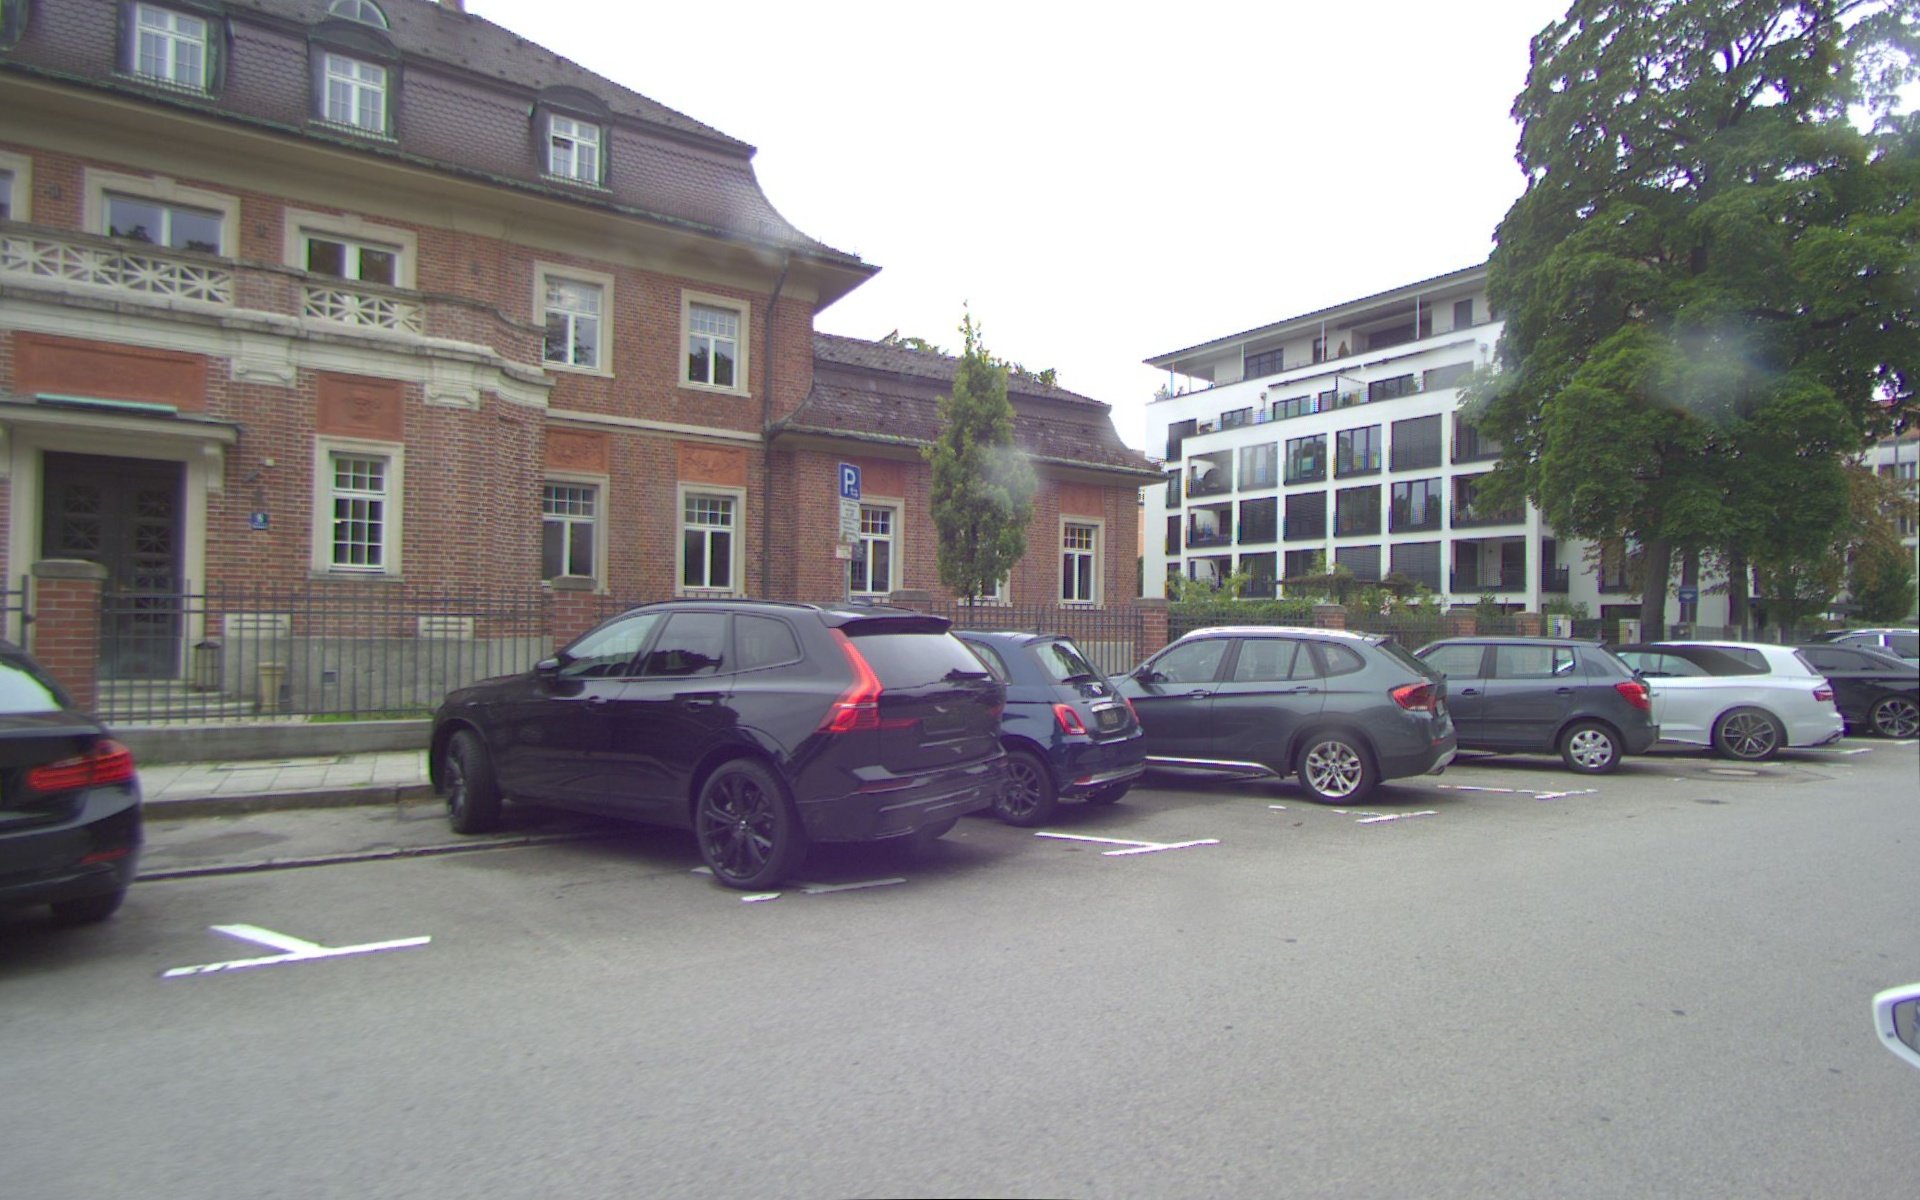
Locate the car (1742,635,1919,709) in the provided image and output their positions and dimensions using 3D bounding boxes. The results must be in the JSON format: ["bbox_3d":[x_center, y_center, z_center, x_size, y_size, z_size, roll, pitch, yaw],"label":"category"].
[{"bbox_3d":[20.234,1.575,22.128,4.326,1.510,2.017,0,-2,21],"label":"car"}]

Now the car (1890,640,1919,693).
[{"bbox_3d":[29.479,1.883,28.486,4.136,1.480,1.737,-1,-3,23],"label":"car"}]

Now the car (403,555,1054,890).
[{"bbox_3d":[-1.761,0.712,7.140,4.450,1.686,1.983,-2,-3,33],"label":"car"}]

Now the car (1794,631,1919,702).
[{"bbox_3d":[22.991,1.588,24.077,4.336,1.642,2.082,0,-2,32],"label":"car"}]

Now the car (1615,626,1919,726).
[{"bbox_3d":[14.912,1.340,18.596,4.326,1.651,1.966,0,-2,21],"label":"car"}]

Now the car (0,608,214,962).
[{"bbox_3d":[-5.881,0.810,5.113,4.450,1.436,1.923,-2,-3,33],"label":"car"}]

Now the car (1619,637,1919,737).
[{"bbox_3d":[13.655,1.378,16.584,4.327,1.458,1.965,0,-2,22],"label":"car"}]

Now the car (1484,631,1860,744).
[{"bbox_3d":[10.610,1.310,15.470,4.436,1.529,1.929,-3,-4,29],"label":"car"}]

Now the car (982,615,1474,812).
[{"bbox_3d":[2.613,0.968,10.108,4.448,1.588,1.886,-1,-2,31],"label":"car"}]

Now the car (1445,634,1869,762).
[{"bbox_3d":[9.080,1.213,13.608,4.435,1.470,1.894,-1,-2,29],"label":"car"}]

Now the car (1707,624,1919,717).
[{"bbox_3d":[17.993,1.389,20.185,4.326,1.721,2.137,0,-2,21],"label":"car"}]

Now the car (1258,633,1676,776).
[{"bbox_3d":[6.041,1.149,12.311,4.320,1.470,1.653,-1,-2,32],"label":"car"}]

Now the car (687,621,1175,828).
[{"bbox_3d":[-0.387,1.012,9.249,4.259,1.490,1.815,-3,-3,35],"label":"car"}]

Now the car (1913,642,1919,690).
[{"bbox_3d":[31.679,2.002,30.140,4.145,1.480,1.733,-2,-3,32],"label":"car"}]
